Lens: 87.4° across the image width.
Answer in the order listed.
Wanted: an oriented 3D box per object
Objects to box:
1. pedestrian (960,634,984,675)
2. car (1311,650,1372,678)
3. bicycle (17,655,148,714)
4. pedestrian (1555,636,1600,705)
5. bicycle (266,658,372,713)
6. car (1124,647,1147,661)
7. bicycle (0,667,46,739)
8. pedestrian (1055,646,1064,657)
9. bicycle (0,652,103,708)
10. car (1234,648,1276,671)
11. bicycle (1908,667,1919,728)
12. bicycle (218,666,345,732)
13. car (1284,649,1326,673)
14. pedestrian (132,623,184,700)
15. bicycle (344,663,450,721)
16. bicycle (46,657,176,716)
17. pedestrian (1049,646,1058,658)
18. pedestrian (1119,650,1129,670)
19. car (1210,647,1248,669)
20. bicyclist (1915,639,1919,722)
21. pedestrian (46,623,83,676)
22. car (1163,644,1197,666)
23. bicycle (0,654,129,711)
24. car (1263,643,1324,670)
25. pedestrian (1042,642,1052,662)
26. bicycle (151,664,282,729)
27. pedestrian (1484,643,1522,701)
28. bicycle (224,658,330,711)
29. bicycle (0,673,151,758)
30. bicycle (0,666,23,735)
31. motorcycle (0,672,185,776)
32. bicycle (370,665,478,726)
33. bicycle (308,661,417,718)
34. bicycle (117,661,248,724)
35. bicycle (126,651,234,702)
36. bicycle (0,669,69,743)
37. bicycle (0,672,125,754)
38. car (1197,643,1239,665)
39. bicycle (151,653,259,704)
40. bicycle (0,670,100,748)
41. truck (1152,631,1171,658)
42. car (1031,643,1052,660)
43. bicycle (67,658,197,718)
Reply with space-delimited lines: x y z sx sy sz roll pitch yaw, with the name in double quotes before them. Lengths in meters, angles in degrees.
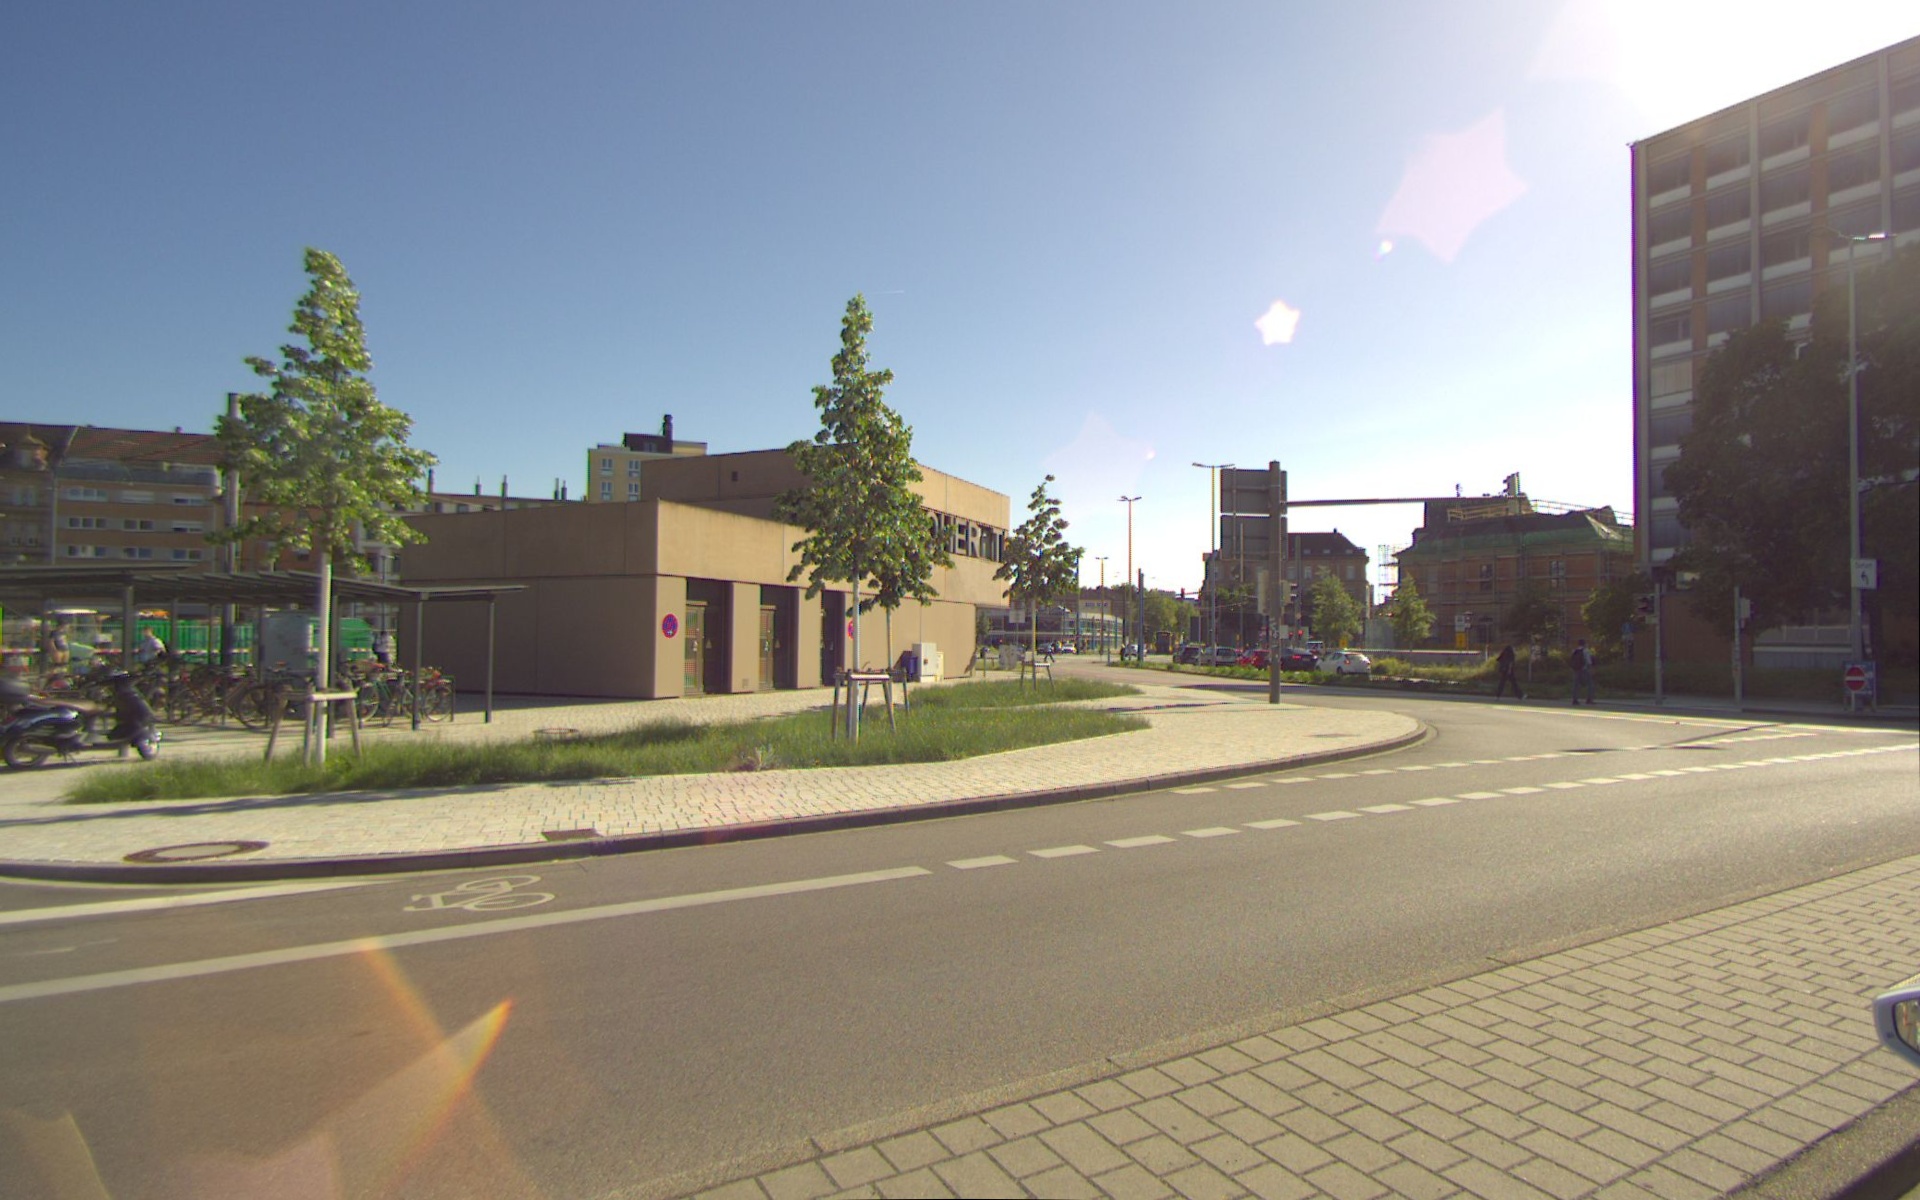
"pedestrian" 0.511 2.328 42.821 0.778 1.745 0.594 -2 -5 38
"car" 21.243 3.563 56.023 1.665 1.454 3.733 1 -2 -7
"bicycle" -16.631 1.581 19.092 0.557 1.051 1.788 -1 -3 22
"pedestrian" 17.132 1.952 27.862 1.086 1.856 0.748 4 -3 -38
"bicycle" -12.933 1.709 20.333 0.557 1.051 1.788 -1 -3 22
"car" 21.827 6.694 124.580 1.754 1.565 3.635 2 0 27
"bicycle" -14.599 1.512 14.645 0.557 1.051 1.788 -1 -3 22
"pedestrian" 12.726 6.603 128.693 0.855 1.427 0.688 2 0 -32
"bicycle" -17.873 1.536 19.500 0.557 1.051 1.788 -1 -3 22
"car" 20.245 4.056 69.062 1.644 1.461 3.722 3 -2 -2
"bicycle" 19.599 1.911 19.841 1.848 1.180 0.742 2 -3 -30
"bicycle" -11.684 1.683 17.360 0.557 1.051 1.788 -1 -3 22
"car" 25.867 4.568 75.457 1.846 1.638 3.626 2 -3 0
"pedestrian" -18.542 1.415 23.223 0.606 1.746 0.682 0 -2 21
"bicycle" -10.645 1.719 19.071 0.557 1.051 1.788 -1 -3 22
"bicycle" -15.891 1.589 18.850 0.557 1.051 1.788 -1 -3 22
"pedestrian" 11.881 6.606 128.167 0.855 1.427 0.688 2 0 -32
"pedestrian" 13.430 4.902 82.175 0.566 1.632 0.565 2 0 -30
"car" 20.240 4.354 75.662 1.697 1.461 3.799 3 -2 -2
"bicyclist" 19.546 1.584 19.824 0.966 1.642 0.716 2 -3 -30
"pedestrian" -26.111 1.441 29.299 0.550 1.538 0.588 0 -2 25
"car" 16.419 4.091 75.099 1.696 1.461 3.912 3 -2 2
"bicycle" -17.192 1.560 19.329 0.557 1.051 1.788 -1 -3 22
"car" 20.891 3.529 63.059 1.953 1.645 4.374 1 -2 -7
"pedestrian" 7.213 4.294 83.353 0.643 1.632 0.676 2 0 -4
"bicycle" -12.953 1.656 17.556 0.557 1.051 1.788 -1 -3 22
"pedestrian" 15.634 2.068 28.934 0.669 1.633 0.719 1 -2 -3
"bicycle" -14.104 1.724 20.804 0.557 1.051 1.788 -1 -3 22
"bicycle" -12.192 1.541 13.663 0.557 1.051 1.788 -1 -3 22
"bicycle" -15.215 1.513 14.930 0.557 1.051 1.788 -1 -3 22
"motorcycle" -10.934 1.497 12.479 0.584 1.134 1.983 0 -2 26
"bicycle" -9.856 1.731 18.543 0.557 1.051 1.788 -1 -3 22
"bicycle" -11.655 1.722 19.655 0.558 1.051 1.785 -2 -4 30
"bicycle" -13.848 1.630 17.958 0.557 1.051 1.788 -1 -3 22
"bicycle" -16.876 1.645 21.786 0.557 1.051 1.788 -1 -3 22
"bicycle" -14.023 1.529 14.403 0.557 1.051 1.788 -1 -3 22
"bicycle" -12.791 1.545 13.923 0.557 1.051 1.788 -1 -3 22
"car" 17.477 3.647 68.285 1.697 1.461 3.798 1 -2 -3
"bicycle" -16.199 1.664 21.601 0.557 1.051 1.788 -1 -3 22
"bicycle" -13.339 1.524 14.148 0.557 1.051 1.788 -1 -3 22
"truck" 29.927 6.557 149.315 2.549 3.723 5.229 2 0 10
"car" 11.081 7.027 136.552 1.960 2.040 4.001 2 0 16
"bicycle" -15.249 1.591 18.554 0.557 1.051 1.788 -1 -3 22
